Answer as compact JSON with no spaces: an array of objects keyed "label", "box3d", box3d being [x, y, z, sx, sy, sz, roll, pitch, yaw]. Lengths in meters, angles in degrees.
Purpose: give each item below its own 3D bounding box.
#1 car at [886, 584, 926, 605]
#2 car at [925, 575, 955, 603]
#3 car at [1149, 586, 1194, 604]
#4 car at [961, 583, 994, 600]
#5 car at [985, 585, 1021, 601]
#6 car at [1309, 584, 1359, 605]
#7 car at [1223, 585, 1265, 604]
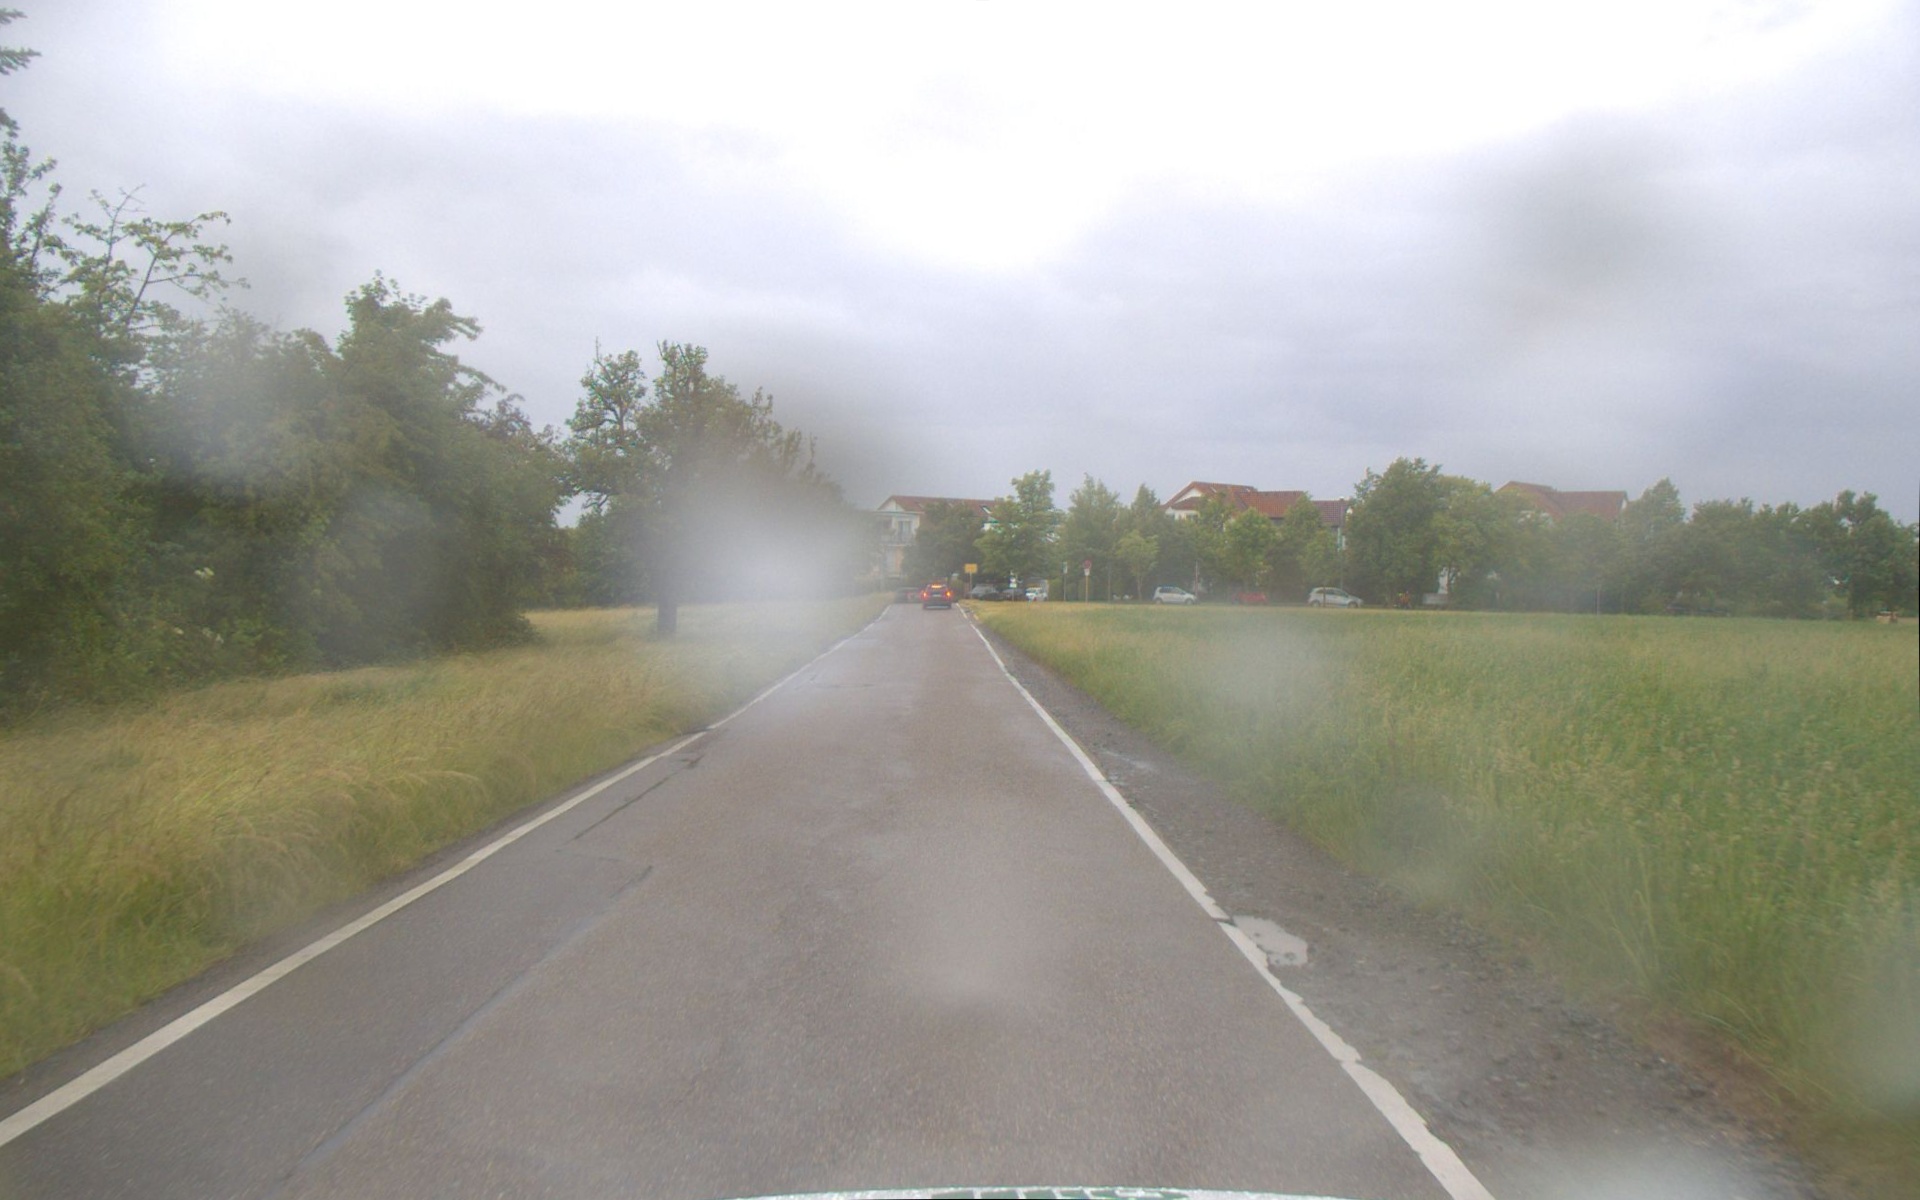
[{"label":"car","box3d":[-4.362,-0.425,132.895,1.792,1.622,3.967,0,-1,-26]},{"label":"car","box3d":[-1.195,-0.654,99.540,1.777,1.622,4.000,0,-1,0]},{"label":"car","box3d":[16.207,-0.385,126.505,3.317,1.394,1.549,0,-1,12]},{"label":"car","box3d":[1.665,-0.810,155.156,1.627,1.573,3.998,0,-1,24]},{"label":"car","box3d":[4.148,-0.664,159.858,1.632,1.573,3.987,0,-1,34]},{"label":"car","box3d":[27.913,-0.411,123.575,3.630,1.591,1.612,0,-1,12]},{"label":"car","box3d":[21.492,-0.400,125.155,3.124,1.394,1.573,0,-1,12]}]
